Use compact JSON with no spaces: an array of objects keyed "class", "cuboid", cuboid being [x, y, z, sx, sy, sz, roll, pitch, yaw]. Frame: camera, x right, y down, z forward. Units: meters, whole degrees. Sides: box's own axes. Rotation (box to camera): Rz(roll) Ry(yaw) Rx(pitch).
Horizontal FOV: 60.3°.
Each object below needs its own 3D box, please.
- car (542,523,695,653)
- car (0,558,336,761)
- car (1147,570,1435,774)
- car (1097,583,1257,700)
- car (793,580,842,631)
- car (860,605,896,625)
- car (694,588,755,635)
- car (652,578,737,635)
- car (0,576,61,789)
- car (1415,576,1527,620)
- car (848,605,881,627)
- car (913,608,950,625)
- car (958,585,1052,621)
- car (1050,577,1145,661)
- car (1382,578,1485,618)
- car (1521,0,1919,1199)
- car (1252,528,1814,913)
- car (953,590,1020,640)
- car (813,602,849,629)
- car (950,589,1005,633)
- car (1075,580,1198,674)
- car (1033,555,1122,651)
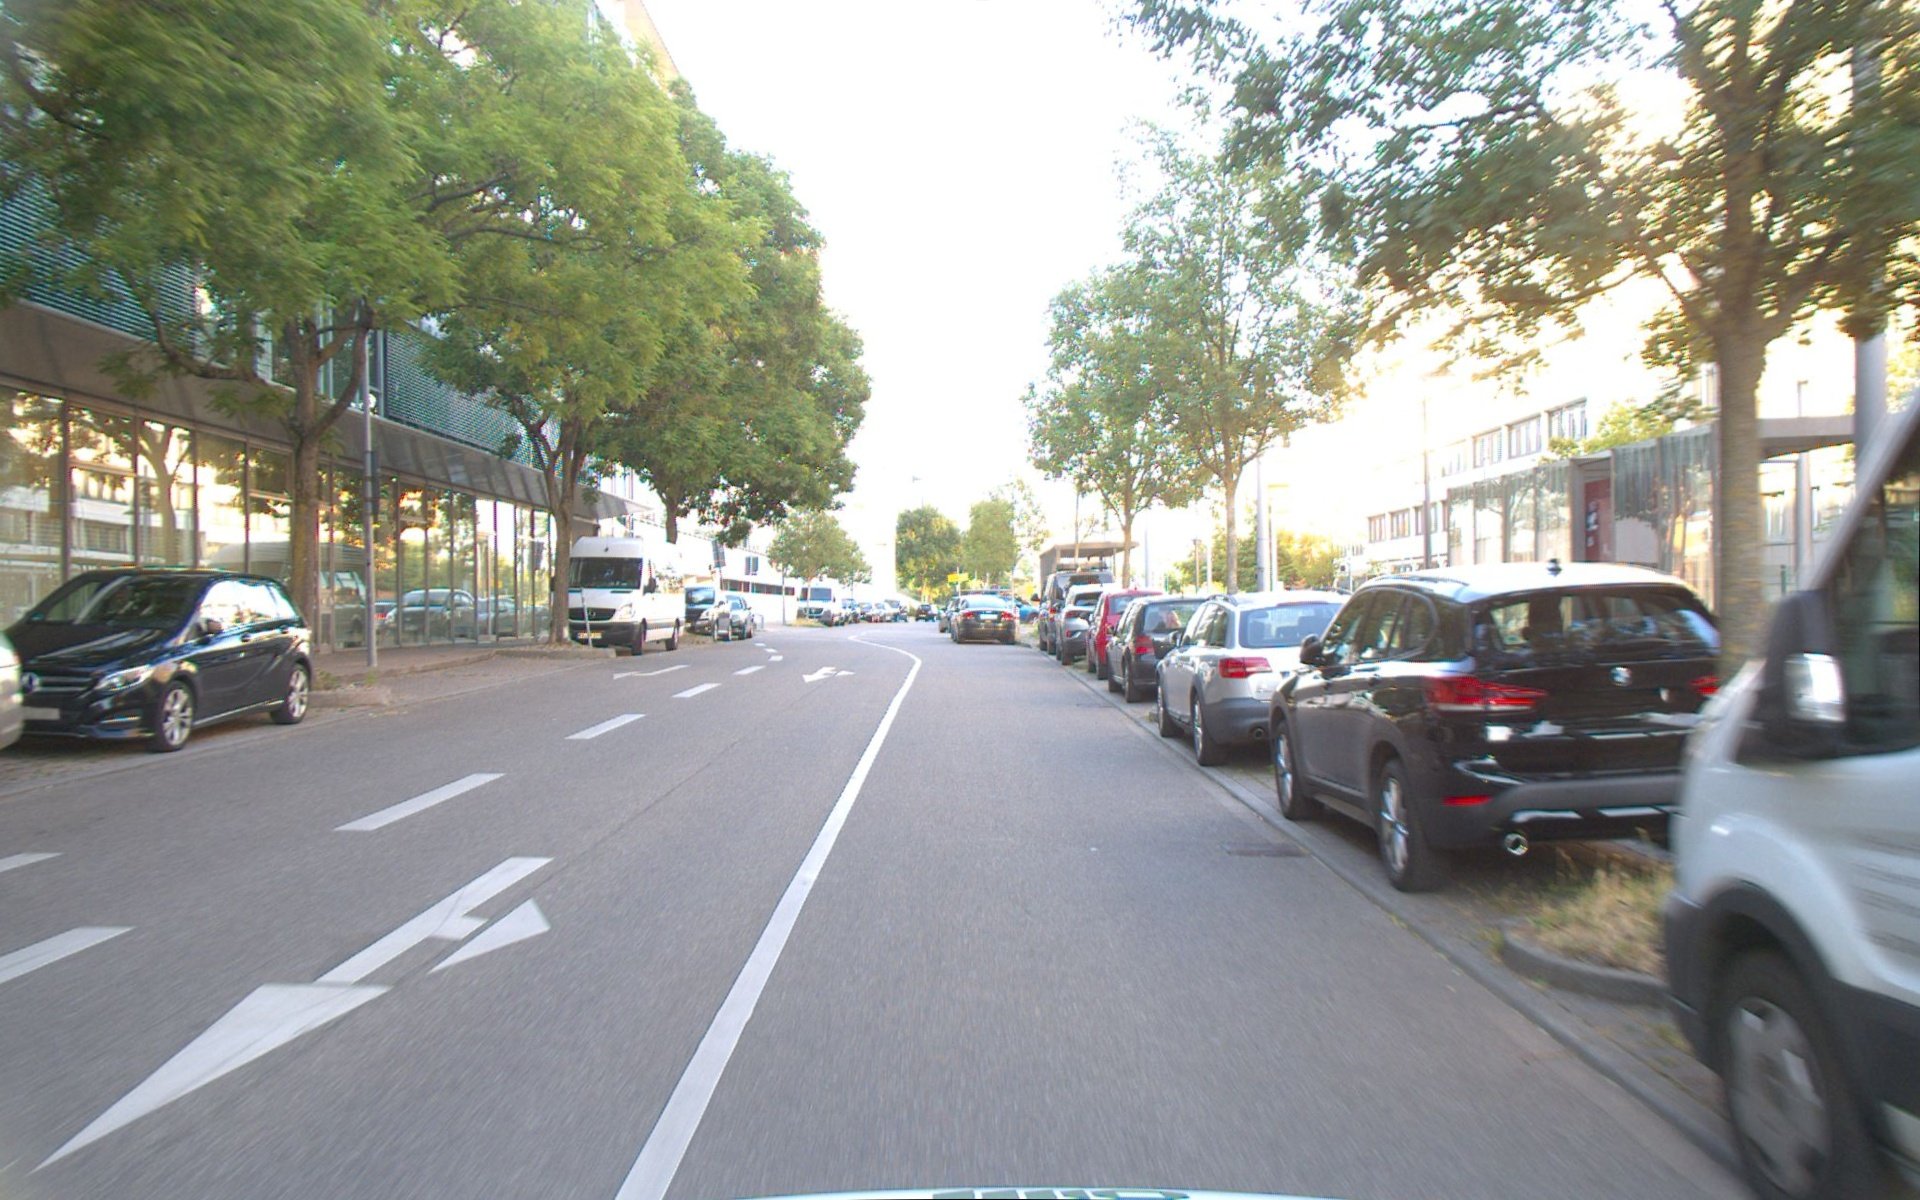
[{"class":"car","cuboid":[-7.673,-0.271,37.918,2.057,2.710,6.951,0,0,0]},{"class":"car","cuboid":[-7.553,0.459,15.669,1.557,1.596,4.471,2,0,0]},{"class":"car","cuboid":[2.931,0.564,15.671,1.759,1.522,4.781,-4,0,1]},{"class":"car","cuboid":[3.039,0.544,23.877,1.673,1.477,3.999,-2,0,-1]},{"class":"car","cuboid":[-7.772,0.267,90.725,1.918,2.662,6.893,1,0,1]},{"class":"car","cuboid":[-6.219,1.124,126.011,1.685,1.483,4.698,2,0,10]},{"class":"car","cuboid":[-7.691,0.358,54.297,1.681,1.477,4.395,0,0,-4]},{"class":"car","cuboid":[-7.764,0.176,48.657,1.806,1.599,4.267,0,0,0]},{"class":"car","cuboid":[-7.568,0.563,10.041,1.668,1.487,4.626,2,0,0]},{"class":"car","cuboid":[20.438,-0.075,66.253,3.905,1.513,1.675,-3,0,0]},{"class":"car","cuboid":[-6.966,1.153,120.417,1.686,1.483,4.274,1,0,6]},{"class":"car","cuboid":[-2.411,1.409,141.339,1.903,1.407,4.401,2,0,17]},{"class":"car","cuboid":[2.081,0.134,75.472,3.955,1.547,1.903,-1,-1,-36]},{"class":"car","cuboid":[2.887,0.374,35.403,1.672,1.608,4.479,-2,0,1]},{"class":"car","cuboid":[20.298,-0.090,71.029,3.905,1.513,1.675,-3,0,0]},{"class":"car","cuboid":[2.783,0.094,2.088,2.010,2.703,5.432,-4,0,-2]},{"class":"car","cuboid":[2.977,0.544,9.626,1.673,1.672,4.266,-2,0,-1]},{"class":"car","cuboid":[0.777,0.431,51.543,1.751,1.477,4.512,0,0,-3]},{"class":"car","cuboid":[-7.565,0.900,97.105,1.719,1.465,3.902,1,0,1]},{"class":"car","cuboid":[0.565,0.370,57.404,1.642,1.477,4.185,0,0,-3]},{"class":"car","cuboid":[3.118,0.456,30.008,1.673,1.519,4.130,-2,0,-1]},{"class":"car","cuboid":[2.892,0.074,41.623,1.768,2.214,4.735,-2,0,-1]}]
